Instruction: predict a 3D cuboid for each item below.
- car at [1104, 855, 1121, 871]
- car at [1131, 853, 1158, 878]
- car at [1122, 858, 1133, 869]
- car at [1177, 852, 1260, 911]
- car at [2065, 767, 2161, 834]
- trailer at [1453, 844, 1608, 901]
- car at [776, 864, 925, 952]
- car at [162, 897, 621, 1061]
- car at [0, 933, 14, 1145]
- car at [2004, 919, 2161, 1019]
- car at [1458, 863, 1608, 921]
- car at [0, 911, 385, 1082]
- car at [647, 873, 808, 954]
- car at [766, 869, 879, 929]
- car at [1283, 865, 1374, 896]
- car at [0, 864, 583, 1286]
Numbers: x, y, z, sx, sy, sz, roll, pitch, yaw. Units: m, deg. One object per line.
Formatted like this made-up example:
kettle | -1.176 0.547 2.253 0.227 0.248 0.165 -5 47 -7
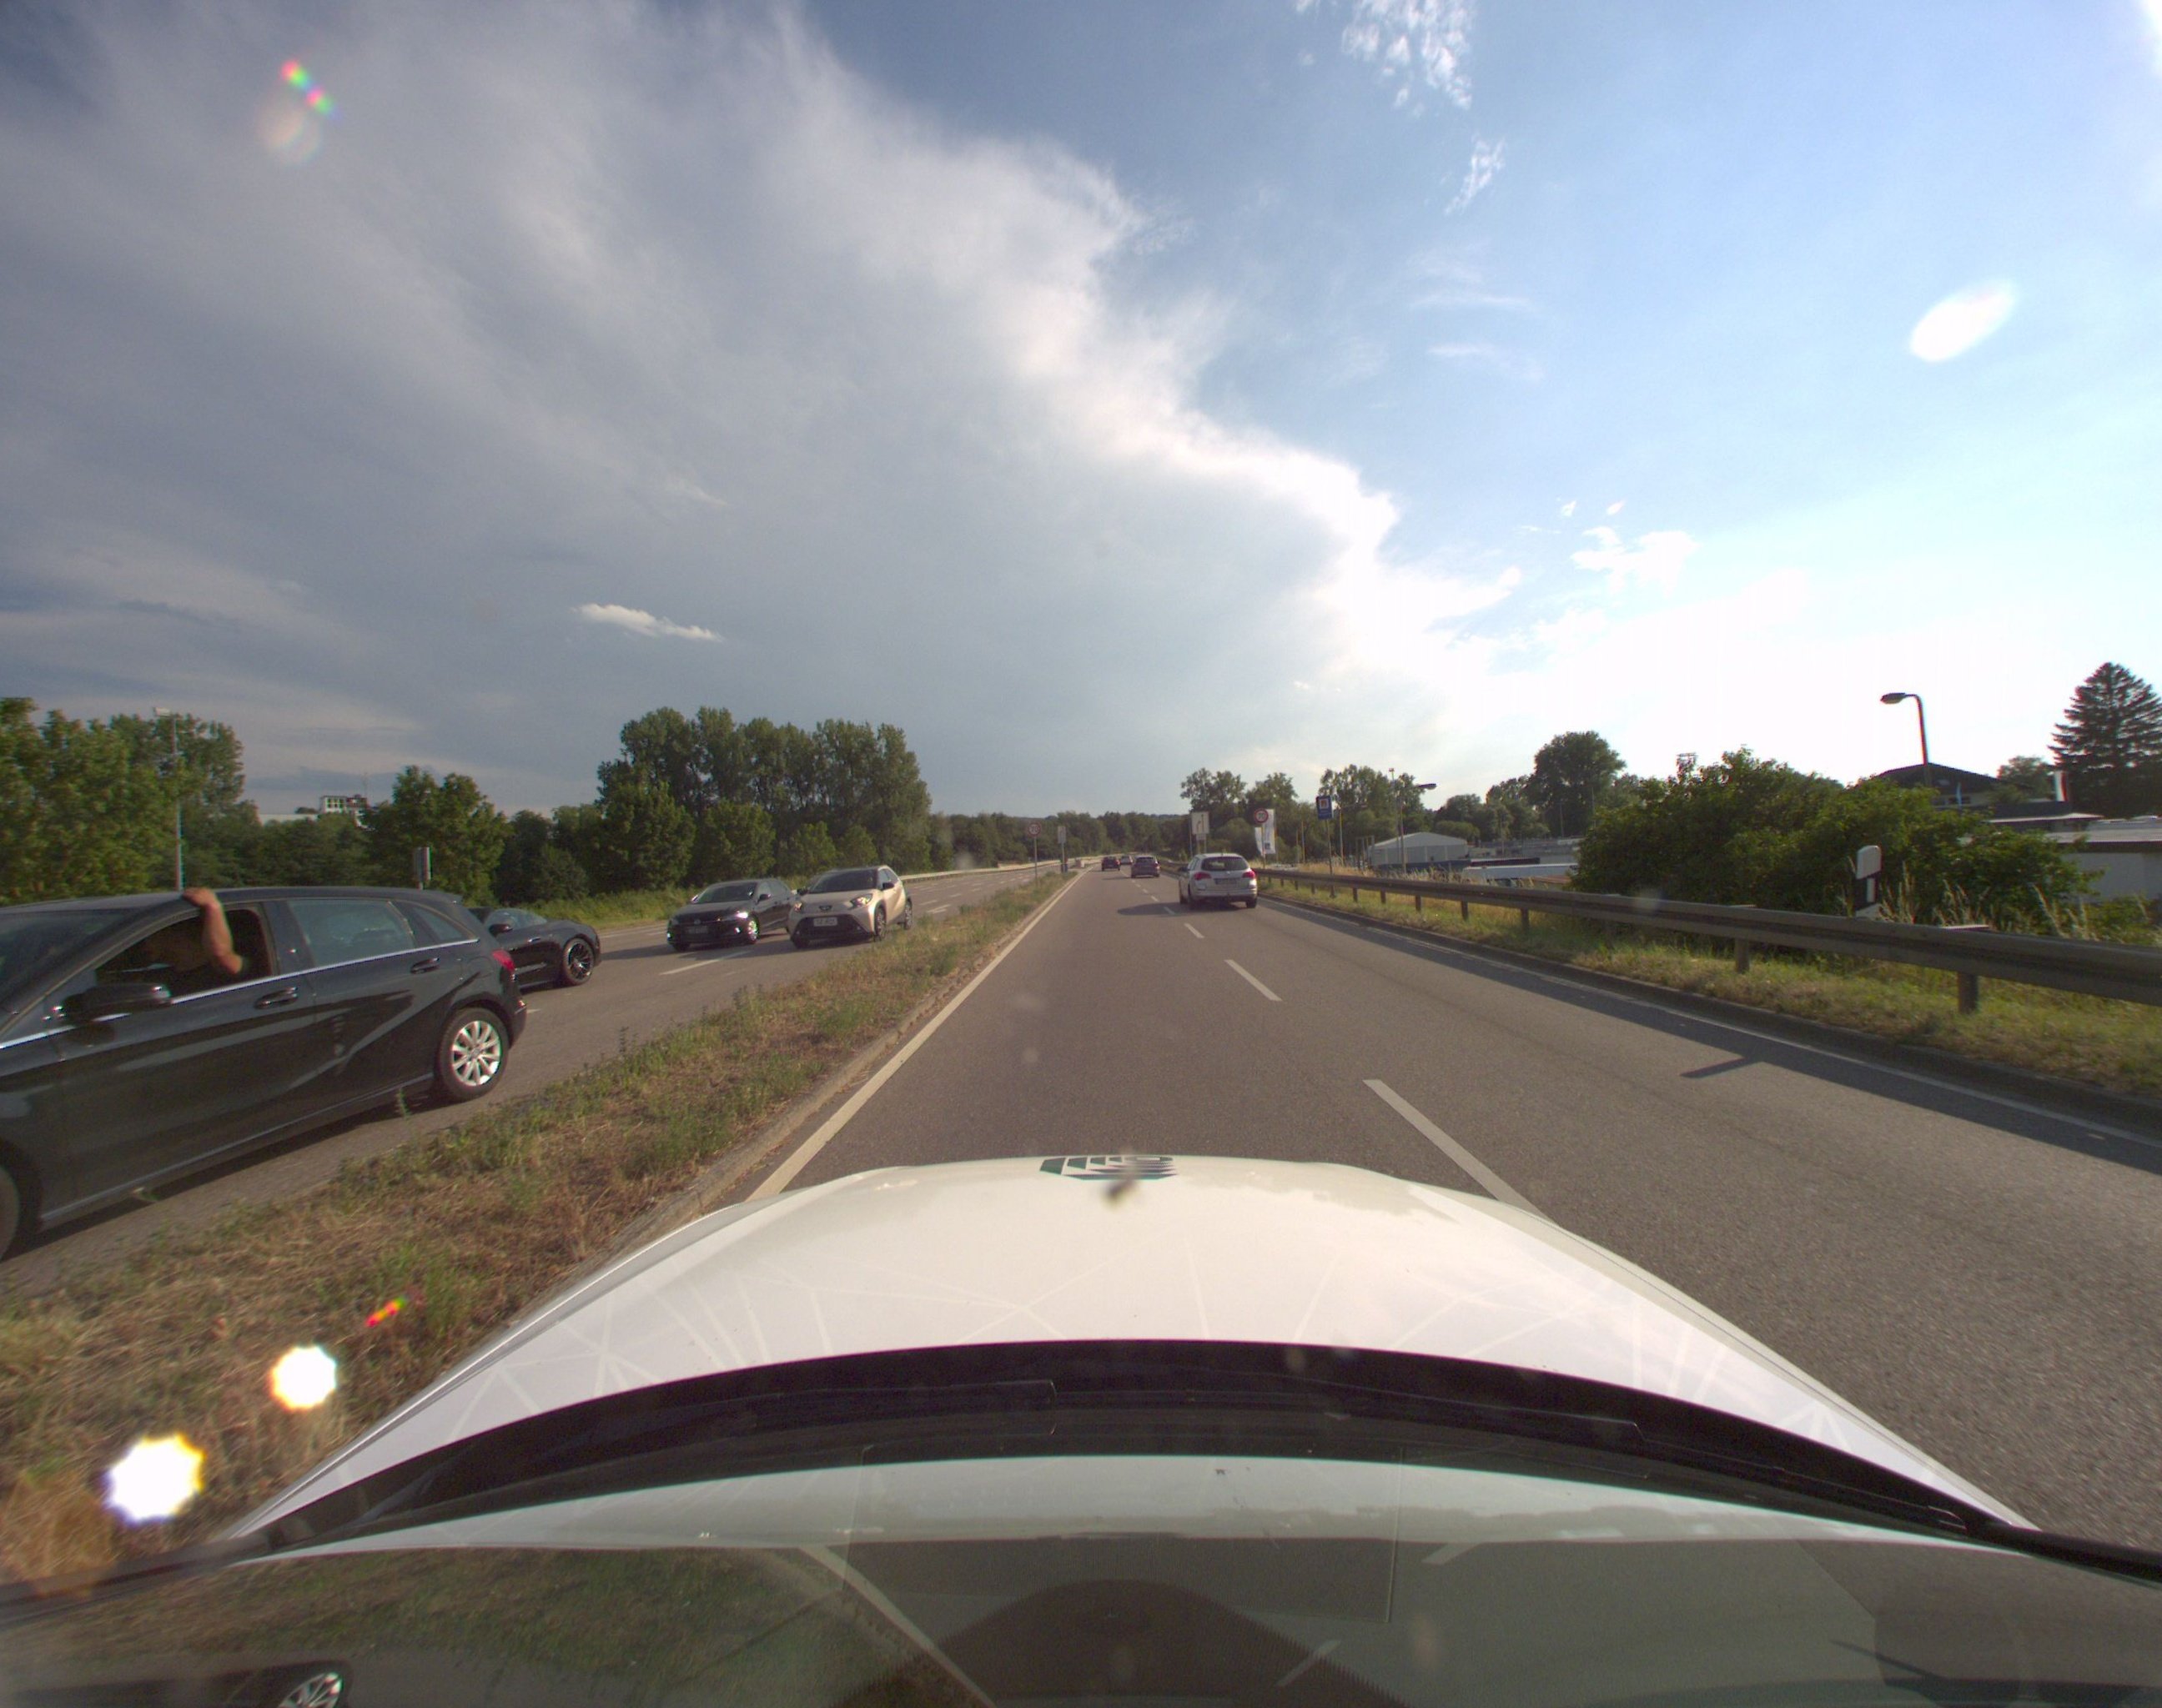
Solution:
car | 3.012 0.895 77.744 1.486 1.476 3.361 -1 -1 3
car | 4.087 0.763 52.837 1.660 1.574 4.003 -1 -1 3
car | 6.326 1.317 110.678 1.486 1.476 3.361 -1 -1 3
car | 3.740 0.744 22.789 1.802 1.486 4.002 -1 -1 3
car | 44.422 -2.232 33.420 1.746 2.549 5.478 -1 -1 6
trailer | 28.156 1.155 51.376 7.838 3.323 3.365 -1 -1 7
car | -4.689 1.045 17.176 1.774 1.520 4.002 -4 -1 2
car | -8.288 1.382 10.591 1.696 1.283 4.820 -4 0 1
car | -8.170 1.243 2.986 1.696 1.405 5.082 -4 -1 2
car | 17.336 1.841 12.887 1.521 1.371 3.589 -1 -1 4
car | 15.091 1.254 27.352 3.969 1.816 1.837 -1 -1 4
car | -11.574 1.665 10.407 1.756 1.529 4.001 -4 -1 2
car | -7.989 1.273 18.879 1.696 1.473 4.246 -5 -1 1
car | -7.791 1.299 25.074 1.709 1.464 4.728 -5 0 2
car | 17.429 1.876 57.652 5.853 2.014 2.003 -1 -1 5
car | -5.060 0.942 4.335 1.774 1.537 4.573 -4 1 2
